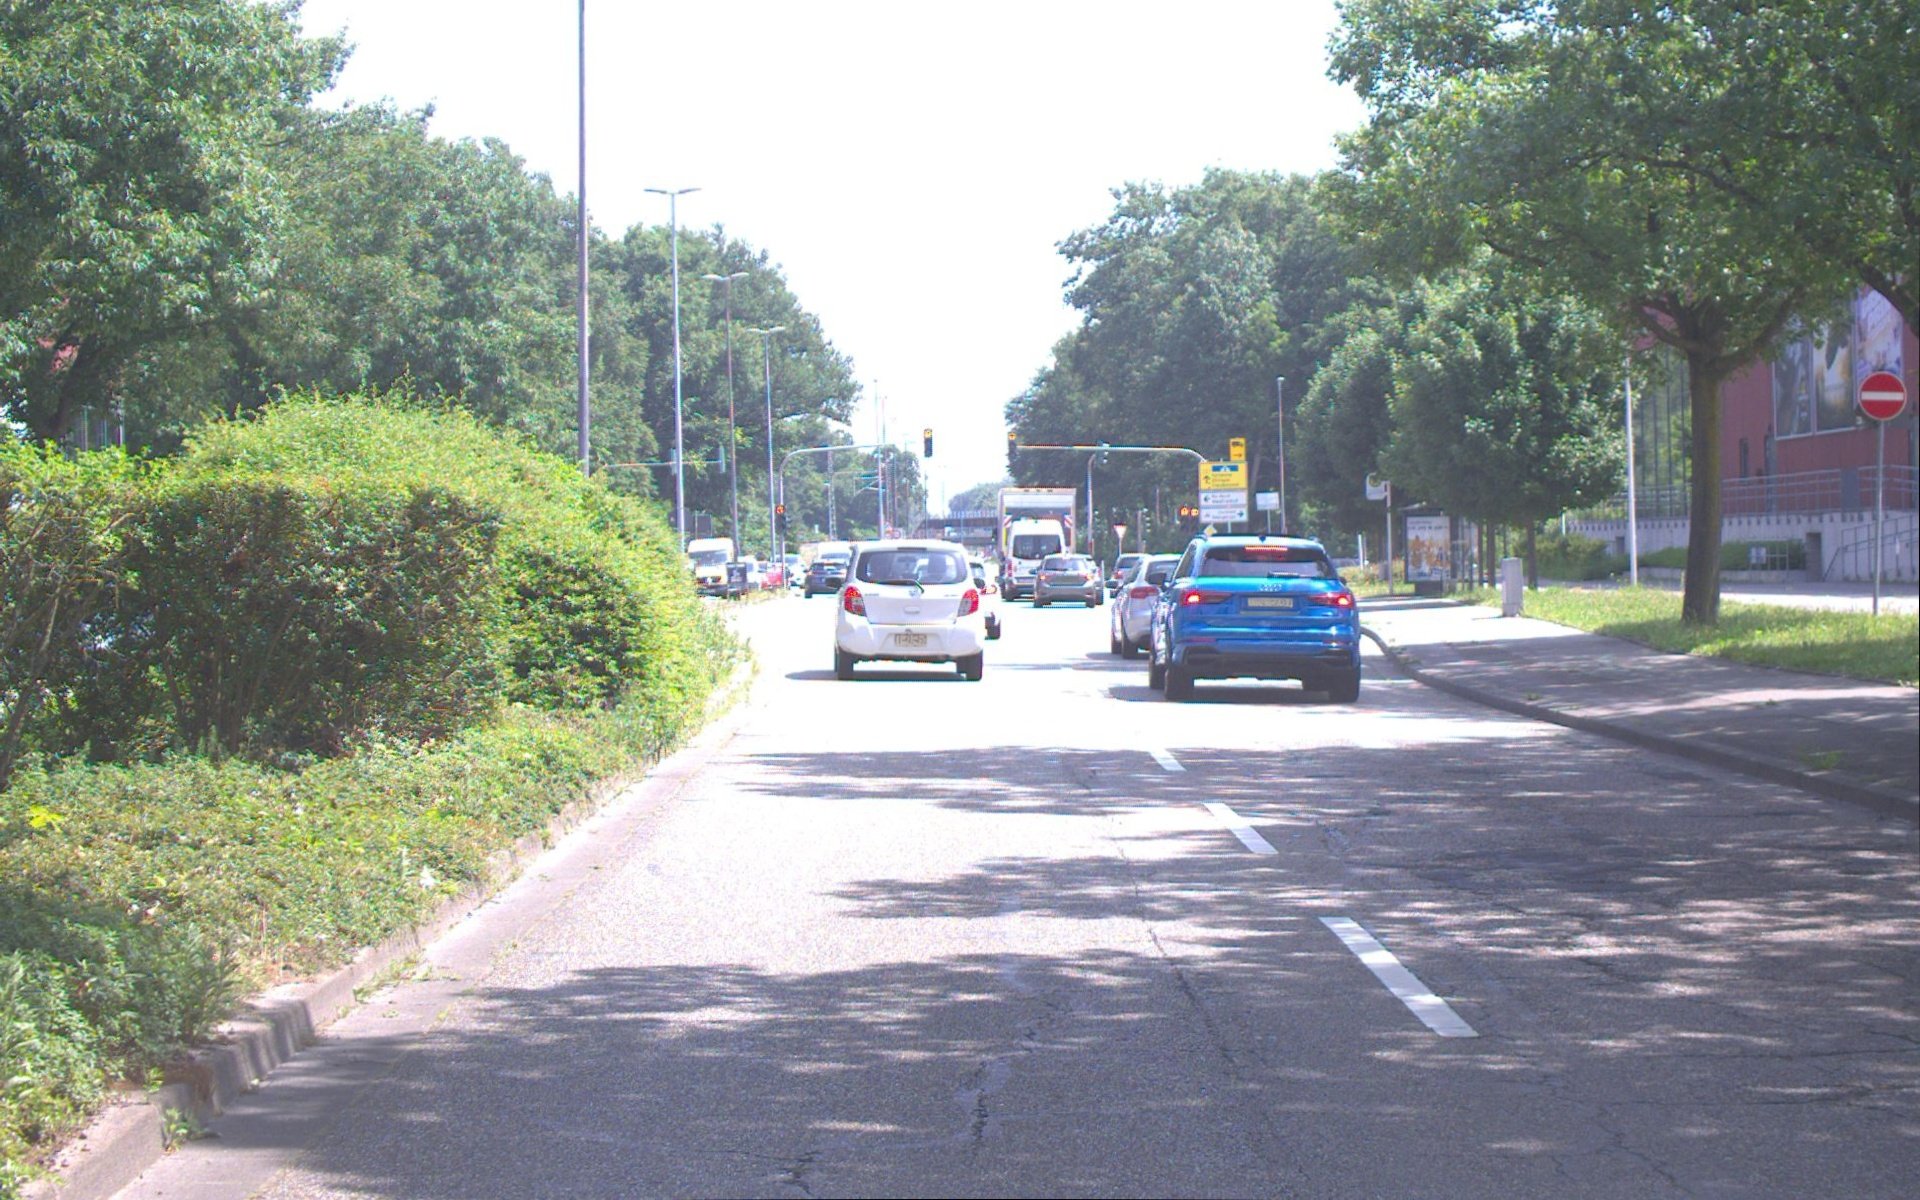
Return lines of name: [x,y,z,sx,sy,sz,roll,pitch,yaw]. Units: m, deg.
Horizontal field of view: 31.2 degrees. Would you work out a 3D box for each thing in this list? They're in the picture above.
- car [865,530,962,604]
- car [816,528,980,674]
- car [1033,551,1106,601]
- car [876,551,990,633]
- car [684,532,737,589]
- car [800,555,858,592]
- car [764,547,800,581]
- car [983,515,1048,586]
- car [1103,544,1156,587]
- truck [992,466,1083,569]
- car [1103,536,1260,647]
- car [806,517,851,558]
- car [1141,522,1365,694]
car: [-1.002,-0.683,72.520,1.794,1.518,4.001,0,0,-4]
car: [-0.733,0.000,38.489,1.638,1.547,3.325,-1,0,-4]
car: [3.082,-0.699,97.499,1.865,1.305,4.000,-2,1,-1]
car: [-0.446,-0.149,58.936,1.885,1.349,4.000,0,0,0]
car: [-10.123,-1.596,139.798,1.779,2.274,4.752,0,0,0]
car: [-4.869,-1.010,128.156,1.993,1.284,4.000,-1,1,0]
car: [-6.963,-1.411,134.391,1.368,1.304,2.694,-2,1,-3]
car: [1.802,-1.632,113.224,1.993,2.248,4.000,-1,1,0]
car: [6.046,-1.253,122.715,1.633,1.459,4.000,-1,1,0]
truck: [2.739,-2.925,123.582,2.932,3.490,9.158,-1,1,0]
car: [3.032,-0.123,47.775,1.865,1.468,4.000,0,0,-1]
car: [-6.601,-3.136,173.186,1.993,2.007,4.000,-2,1,1]
car: [2.831,0.062,34.033,1.808,1.587,4.349,0,0,0]
